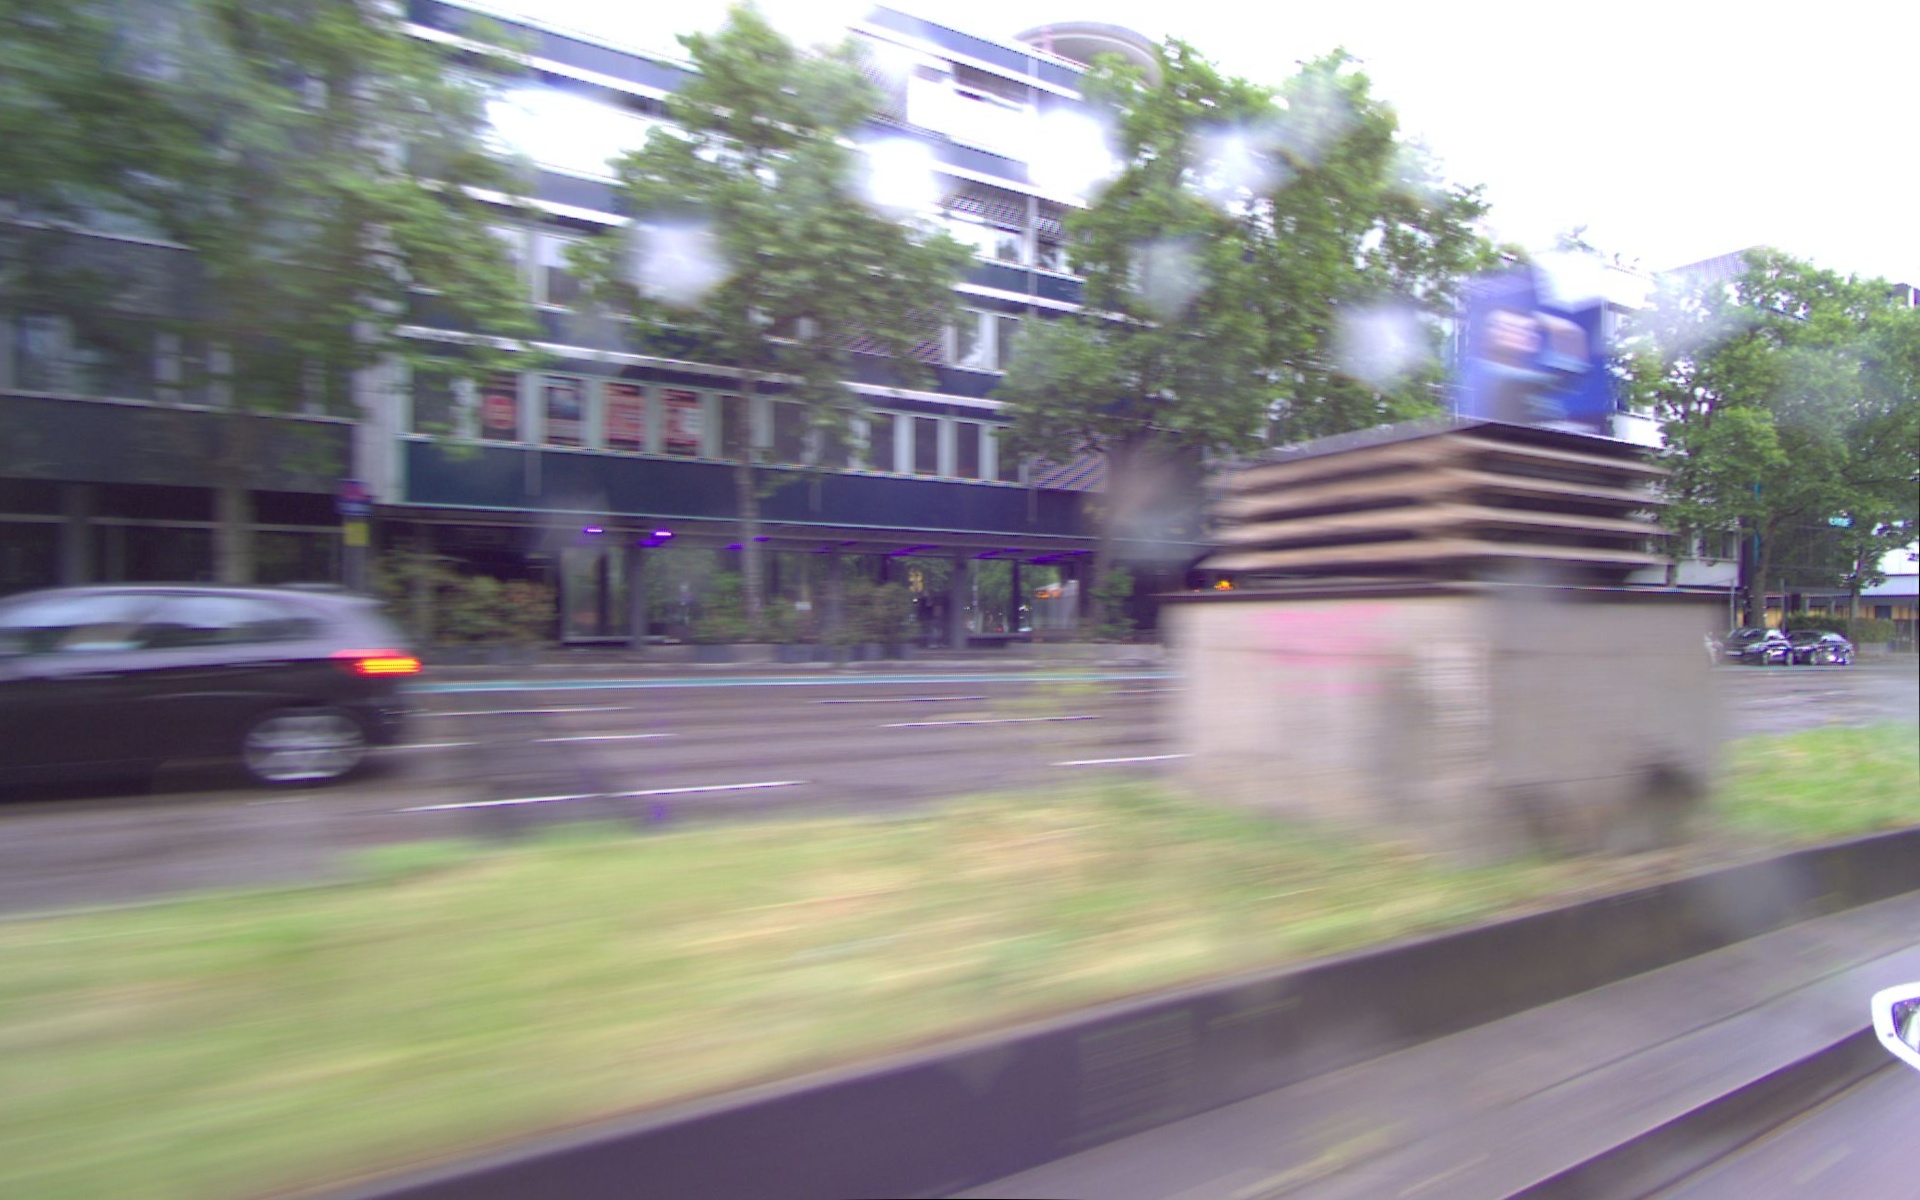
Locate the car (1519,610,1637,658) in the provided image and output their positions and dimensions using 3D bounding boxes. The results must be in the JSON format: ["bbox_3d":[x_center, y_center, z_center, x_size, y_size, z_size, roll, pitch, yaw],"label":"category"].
[{"bbox_3d":[21.171,1.141,34.400,3.953,1.528,1.828,1,0,-31],"label":"car"}]

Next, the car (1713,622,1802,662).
[{"bbox_3d":[32.014,1.671,40.313,3.419,1.488,1.685,1,0,-31],"label":"car"}]

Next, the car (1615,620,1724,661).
[{"bbox_3d":[26.534,1.472,37.524,4.404,1.428,1.685,1,0,-31],"label":"car"}]

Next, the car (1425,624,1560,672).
[{"bbox_3d":[16.829,1.470,31.667,4.627,1.371,1.552,1,1,-30],"label":"car"}]

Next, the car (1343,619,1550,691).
[{"bbox_3d":[10.906,1.158,22.401,4.904,1.428,1.955,1,0,-33],"label":"car"}]

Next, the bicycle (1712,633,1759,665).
[{"bbox_3d":[27.886,1.770,36.130,1.794,1.118,0.706,2,-1,-30],"label":"bicycle"}]

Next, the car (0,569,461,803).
[{"bbox_3d":[-6.450,0.584,7.852,4.486,1.573,1.905,1,0,-29],"label":"car"}]

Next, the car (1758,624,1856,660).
[{"bbox_3d":[36.309,1.782,43.025,4.847,1.428,1.685,1,0,-31],"label":"car"}]

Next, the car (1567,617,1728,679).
[{"bbox_3d":[19.780,1.337,28.890,4.485,1.636,1.756,1,1,-25],"label":"car"}]
